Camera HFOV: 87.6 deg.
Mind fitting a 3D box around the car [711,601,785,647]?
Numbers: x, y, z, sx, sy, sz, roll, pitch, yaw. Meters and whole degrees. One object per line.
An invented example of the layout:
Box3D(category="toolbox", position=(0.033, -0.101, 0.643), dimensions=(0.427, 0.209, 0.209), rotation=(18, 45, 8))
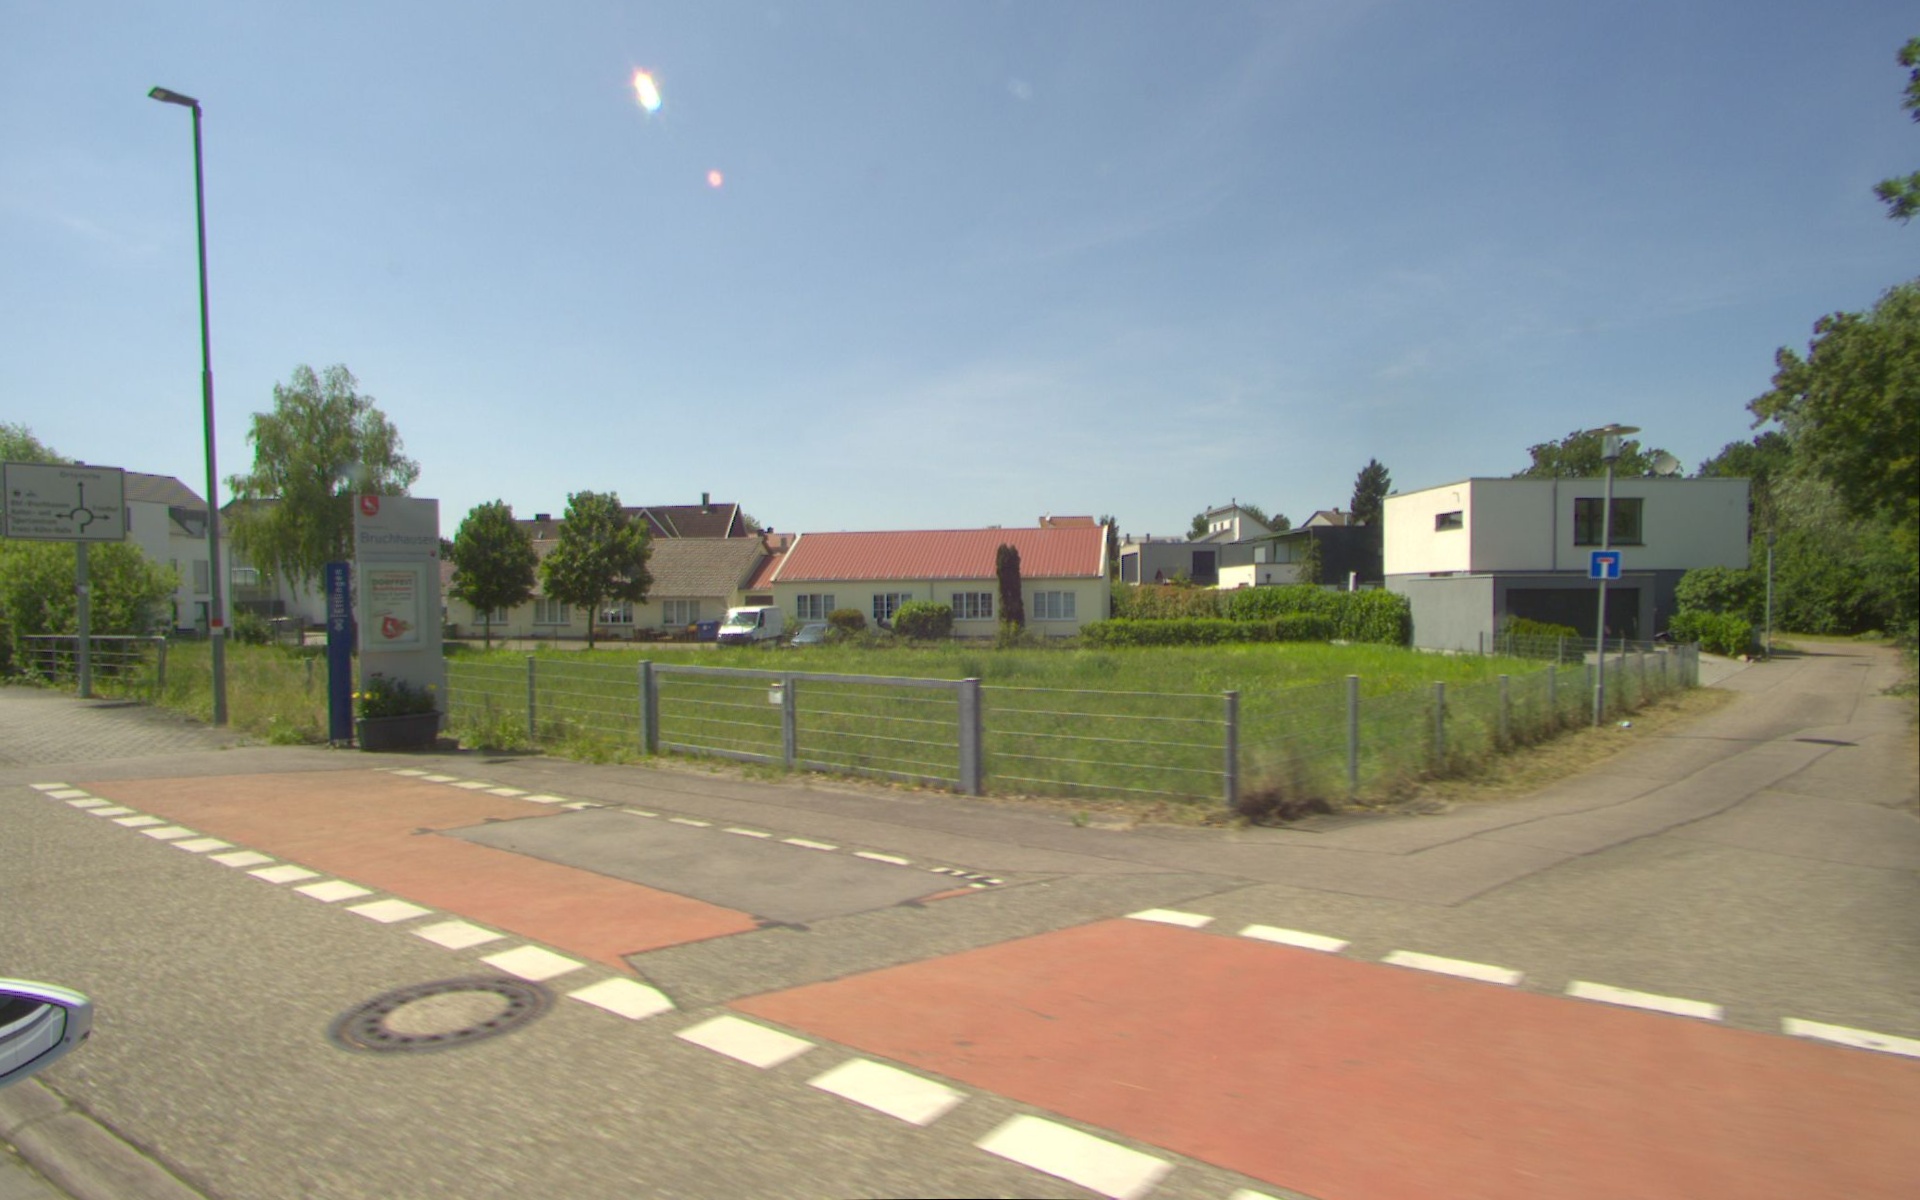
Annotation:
Box3D(category="car", position=(-10.808, 1.224, 51.438), dimensions=(2.173, 2.229, 5.185), rotation=(0, -1, 7))

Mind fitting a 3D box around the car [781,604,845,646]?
Box3D(category="car", position=(-7.358, 1.270, 50.610), dimensions=(2.030, 2.039, 4.933), rotation=(0, -1, 7))
